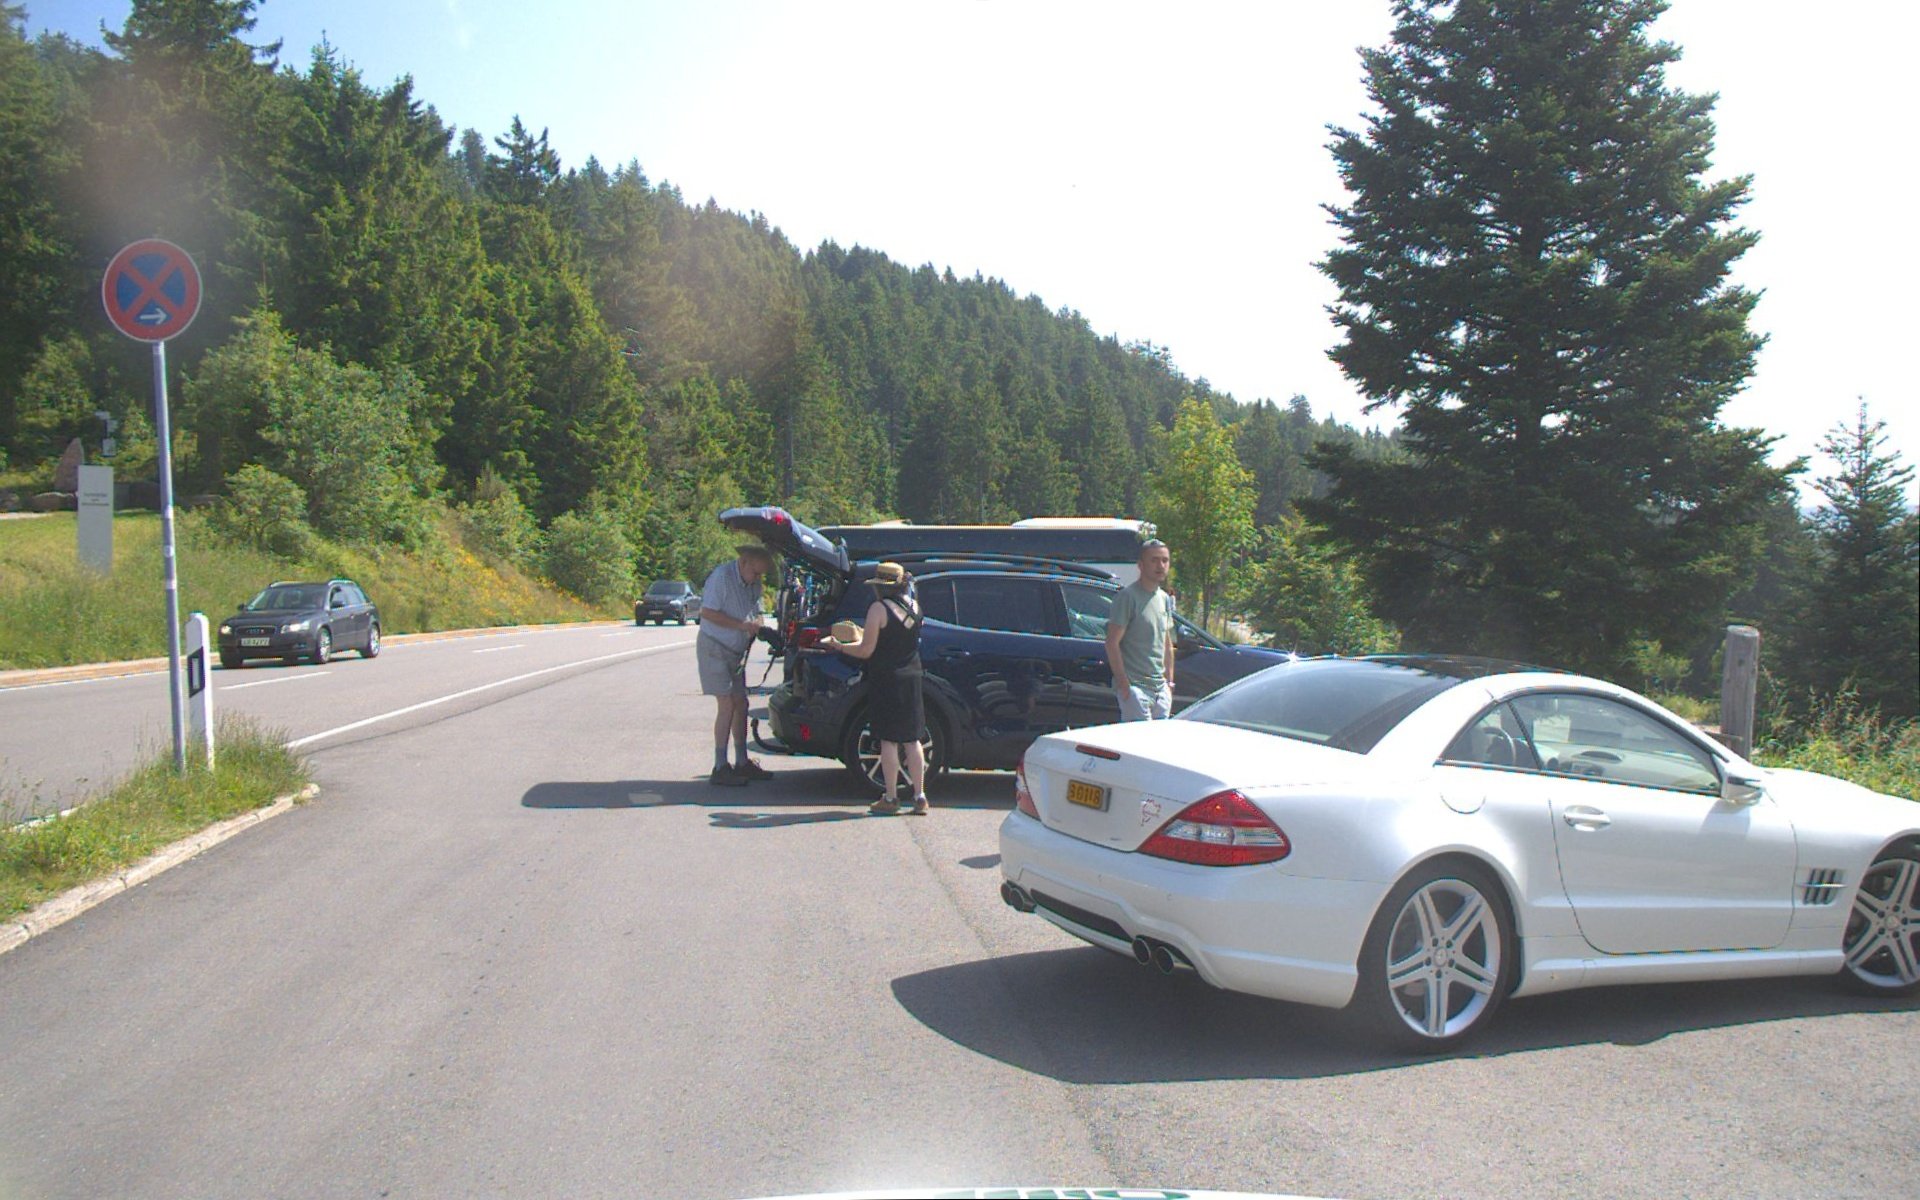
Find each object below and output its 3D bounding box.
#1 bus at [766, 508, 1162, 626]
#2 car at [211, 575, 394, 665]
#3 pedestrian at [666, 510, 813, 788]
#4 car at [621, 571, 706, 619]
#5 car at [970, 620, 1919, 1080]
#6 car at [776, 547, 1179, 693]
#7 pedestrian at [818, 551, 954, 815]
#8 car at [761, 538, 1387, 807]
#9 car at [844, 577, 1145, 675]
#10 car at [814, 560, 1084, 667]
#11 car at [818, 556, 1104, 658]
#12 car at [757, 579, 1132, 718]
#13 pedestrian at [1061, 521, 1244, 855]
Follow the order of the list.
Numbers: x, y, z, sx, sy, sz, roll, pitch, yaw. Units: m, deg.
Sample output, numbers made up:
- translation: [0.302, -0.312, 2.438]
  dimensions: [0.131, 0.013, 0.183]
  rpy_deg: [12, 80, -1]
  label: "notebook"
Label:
- translation: [0.218, -1.055, 54.950]
  dimensions: [12.815, 3.594, 3.046]
  rpy_deg: [-1, 1, 7]
  label: "bus"
- translation: [-11.752, 0.296, 29.876]
  dimensions: [1.672, 1.463, 4.448]
  rpy_deg: [-1, 1, -3]
  label: "car"
- translation: [-1.585, 0.320, 11.936]
  dimensions: [0.721, 1.903, 0.757]
  rpy_deg: [3, 3, 27]
  label: "pedestrian"
- translation: [-10.985, -0.214, 61.617]
  dimensions: [1.951, 1.676, 4.570]
  rpy_deg: [-1, 1, 5]
  label: "car"
- translation: [2.377, 0.844, 6.787]
  dimensions: [4.344, 1.318, 1.741]
  rpy_deg: [2, 1, -27]
  label: "car"
- translation: [0.204, 0.222, 20.929]
  dimensions: [4.848, 1.725, 1.945]
  rpy_deg: [0, 1, -1]
  label: "car"
- translation: [-0.482, 0.524, 10.679]
  dimensions: [0.704, 1.641, 0.533]
  rpy_deg: [1, -1, -24]
  label: "pedestrian"
- translation: [0.732, 0.519, 12.227]
  dimensions: [4.263, 1.654, 1.866]
  rpy_deg: [3, -1, -9]
  label: "car"
- translation: [0.443, 0.342, 23.836]
  dimensions: [4.159, 1.291, 1.837]
  rpy_deg: [-1, 1, -3]
  label: "car"
- translation: [-0.201, 0.197, 26.484]
  dimensions: [4.159, 1.581, 1.837]
  rpy_deg: [-1, 1, -3]
  label: "car"
- translation: [-0.022, 0.100, 29.614]
  dimensions: [4.934, 1.680, 2.047]
  rpy_deg: [-1, 1, -3]
  label: "car"
- translation: [-0.228, 0.530, 18.684]
  dimensions: [4.007, 1.400, 1.699]
  rpy_deg: [2, 0, -10]
  label: "car"
- translation: [1.113, 0.486, 9.602]
  dimensions: [0.740, 1.831, 0.727]
  rpy_deg: [2, -1, -35]
  label: "pedestrian"
